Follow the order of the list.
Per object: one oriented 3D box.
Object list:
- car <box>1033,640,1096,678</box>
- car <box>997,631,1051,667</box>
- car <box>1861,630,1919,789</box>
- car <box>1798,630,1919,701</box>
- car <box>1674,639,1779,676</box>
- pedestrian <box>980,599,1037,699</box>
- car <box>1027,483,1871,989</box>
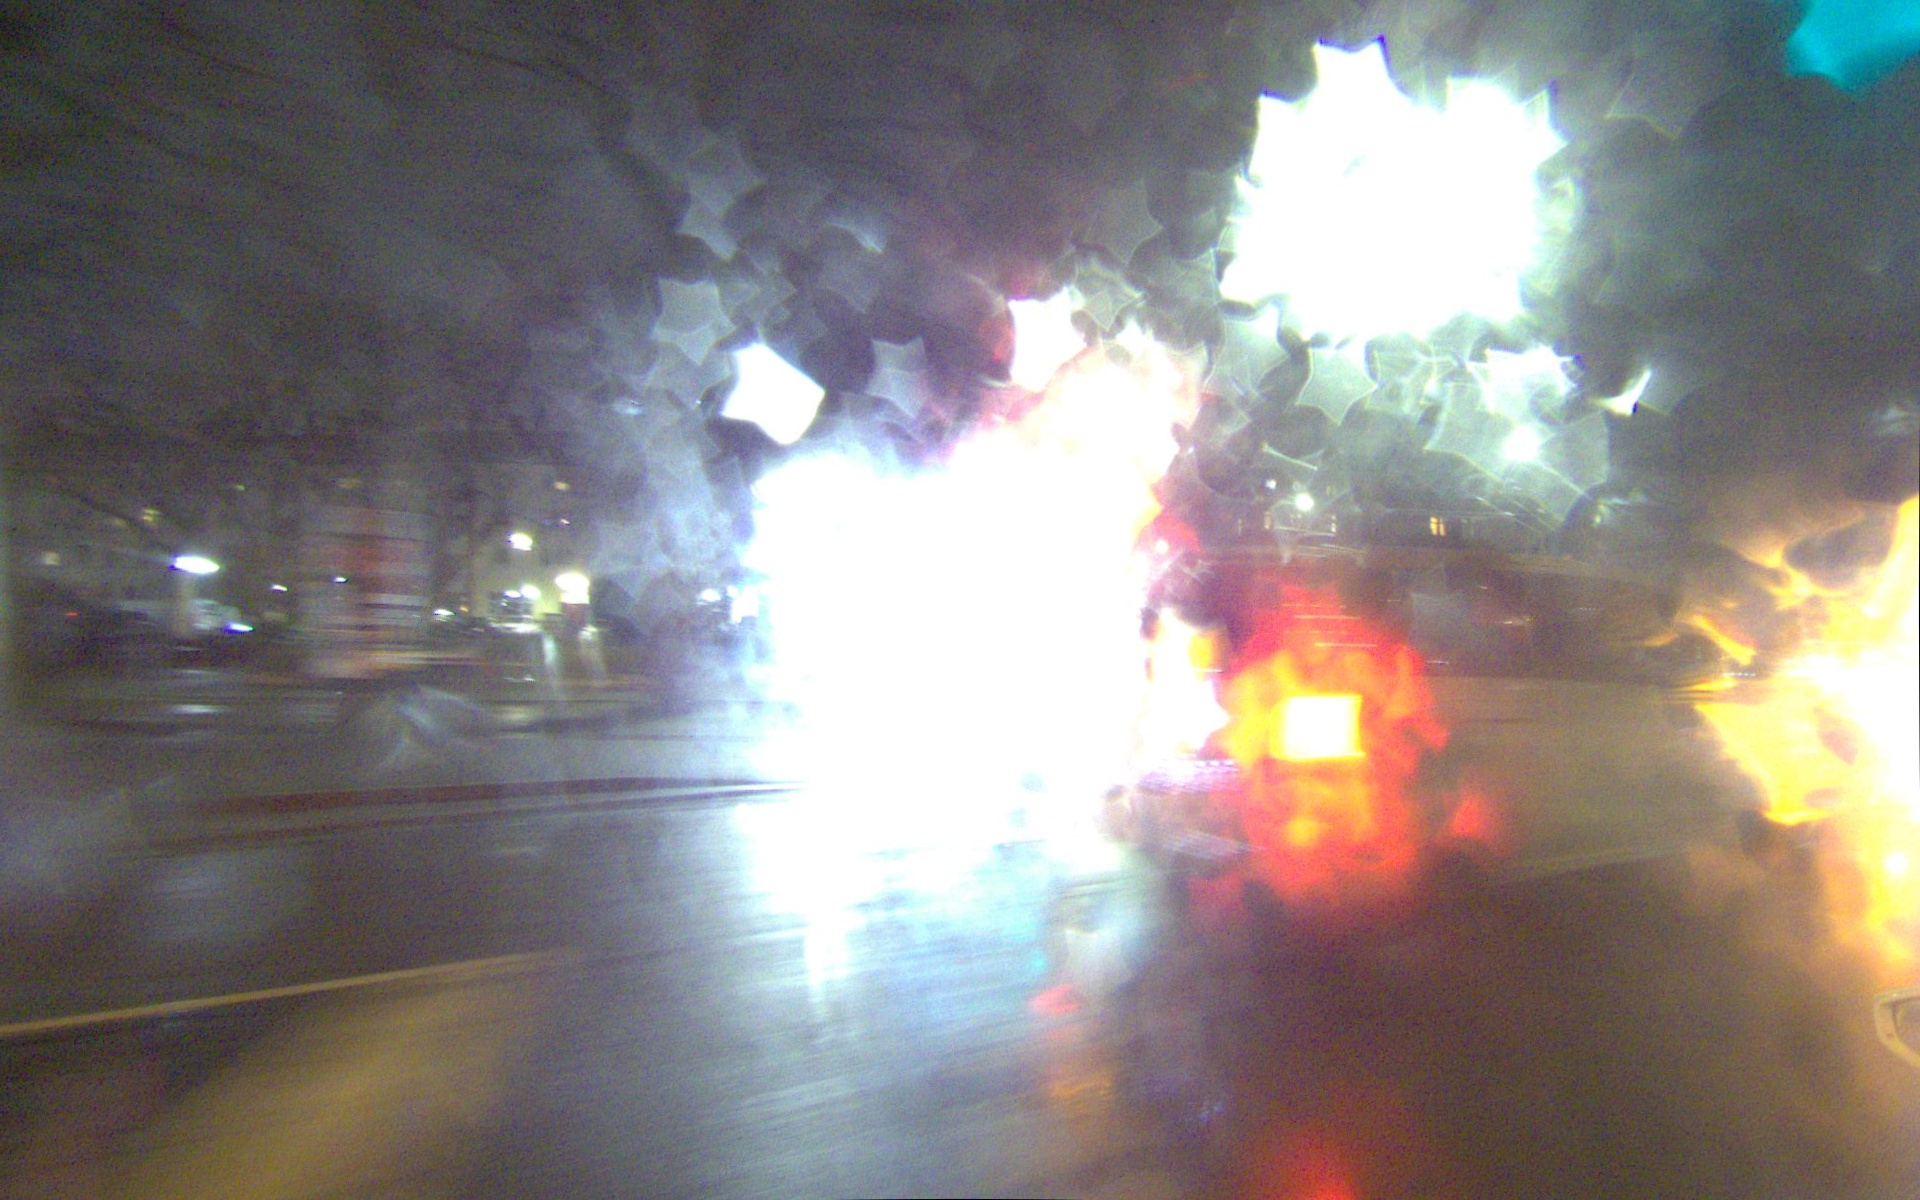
[{"bbox_3d":[4.749,2.689,46.162,1.863,1.590,4.328,1,-2,-8],"label":"car"},{"bbox_3d":[3.284,2.519,52.575,1.863,1.766,4.734,1,-2,-8],"label":"car"},{"bbox_3d":[11.721,1.169,10.879,4.676,1.563,1.807,2,-2,-33],"label":"car"},{"bbox_3d":[25.206,1.789,28.133,4.296,1.804,1.877,2,-2,-39],"label":"car"},{"bbox_3d":[37.871,2.825,49.647,4.115,1.723,1.701,0,-1,-7],"label":"car"},{"bbox_3d":[0.890,0.875,18.236,0.950,1.759,0.771,1,-1,6],"label":"pedestrian"},{"bbox_3d":[3.105,0.589,6.080,5.136,1.979,2.026,1,-1,-29],"label":"car"}]
